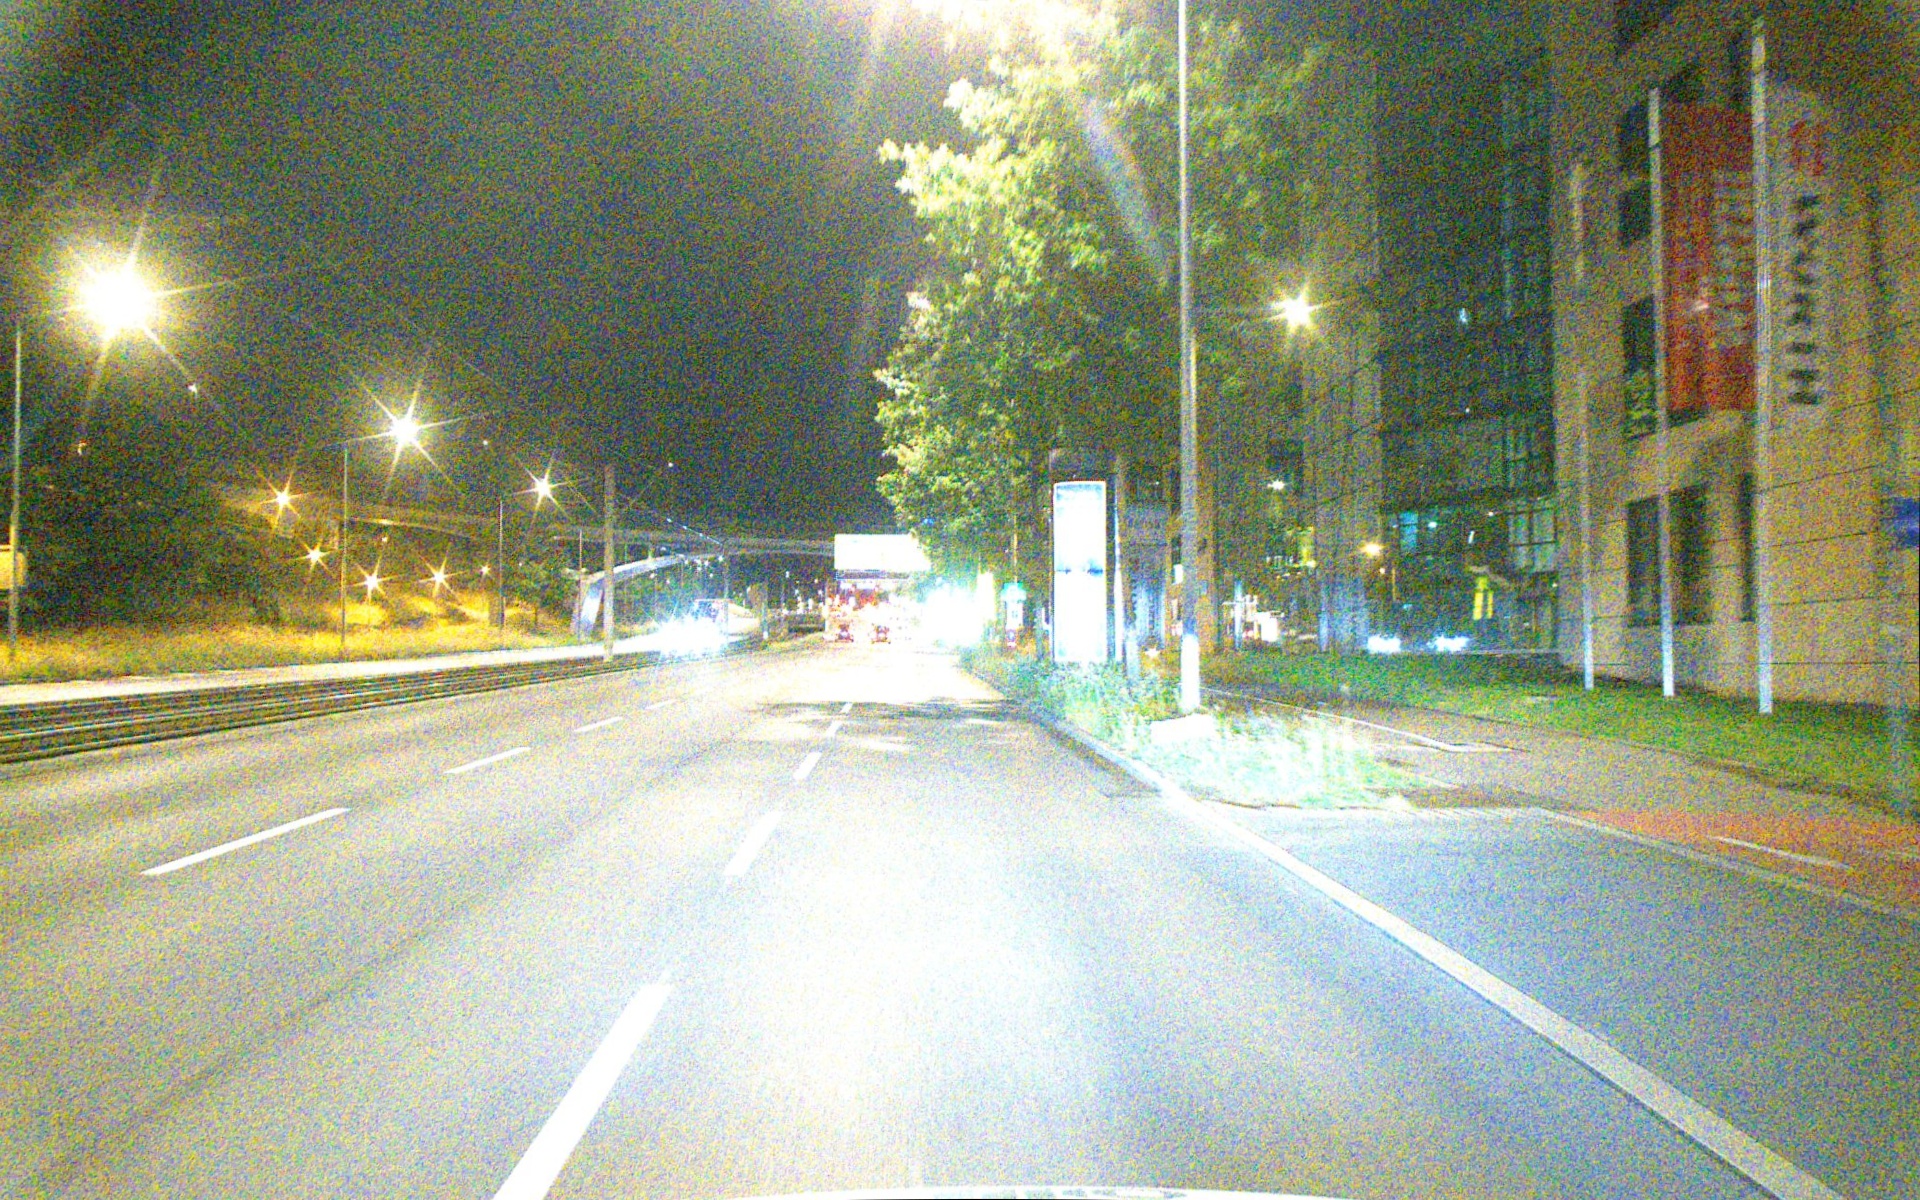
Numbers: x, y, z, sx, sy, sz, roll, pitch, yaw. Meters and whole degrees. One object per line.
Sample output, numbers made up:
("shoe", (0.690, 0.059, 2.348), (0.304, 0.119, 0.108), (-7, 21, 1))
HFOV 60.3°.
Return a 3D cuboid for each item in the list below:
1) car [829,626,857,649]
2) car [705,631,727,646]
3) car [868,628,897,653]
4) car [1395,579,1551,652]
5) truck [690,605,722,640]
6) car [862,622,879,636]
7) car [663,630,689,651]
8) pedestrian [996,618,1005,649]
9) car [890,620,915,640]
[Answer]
("car", (-11.001, 3.530, 156.397), (2.216, 2.049, 4.826), (0, 0, 1))
("car", (-25.221, 3.980, 170.926), (1.872, 1.499, 3.769), (0, 0, -3))
("car", (-7.030, 3.614, 150.117), (2.307, 2.166, 4.826), (0, 0, 1))
("car", (13.945, 0.420, 44.979), (3.717, 1.895, 1.984), (1, -1, -26))
("truck", (-28.286, 2.512, 184.303), (2.979, 3.886, 4.933), (0, 0, -2))
("car", (-10.271, 3.310, 189.850), (1.953, 1.580, 3.998), (0, -1, -2))
("car", (-25.493, 3.590, 148.319), (1.826, 1.781, 3.699), (0, 0, -3))
("pedestrian", (3.229, 2.695, 132.103), (0.729, 2.478, 0.779), (1, -1, 1))
("car", (-6.216, 3.218, 178.724), (2.377, 2.150, 4.826), (1, 0, 1))
